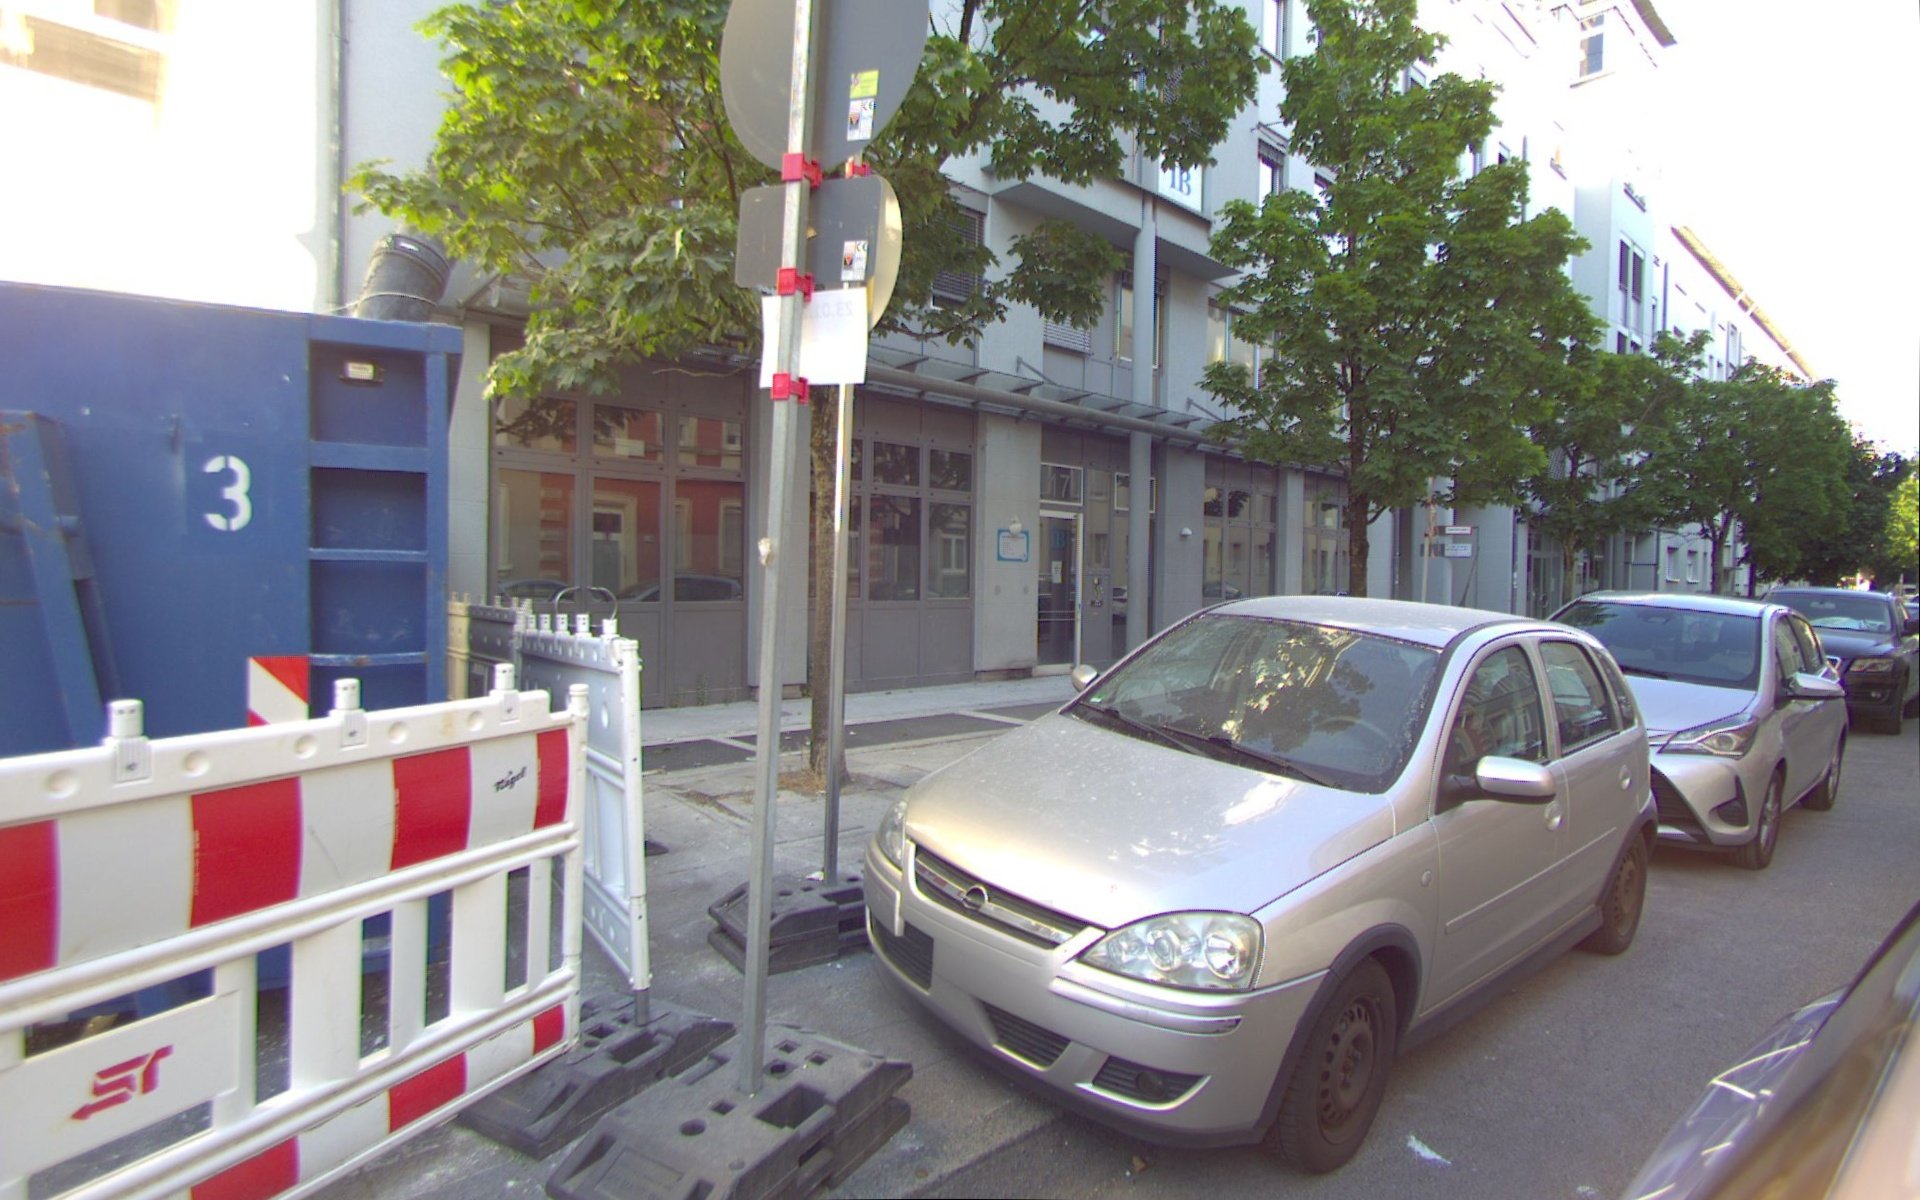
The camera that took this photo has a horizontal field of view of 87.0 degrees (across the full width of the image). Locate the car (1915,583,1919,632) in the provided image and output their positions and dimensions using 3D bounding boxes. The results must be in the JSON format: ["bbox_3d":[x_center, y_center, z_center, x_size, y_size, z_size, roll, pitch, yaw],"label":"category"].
[{"bbox_3d":[34.887,0.294,35.477,4.646,1.655,1.873,-1,4,-45],"label":"car"}]

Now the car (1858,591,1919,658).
[{"bbox_3d":[22.953,0.555,24.224,4.272,1.446,1.766,0,3,-43],"label":"car"}]

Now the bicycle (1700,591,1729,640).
[{"bbox_3d":[19.231,0.372,25.819,0.519,1.182,1.718,3,3,36],"label":"bicycle"}]

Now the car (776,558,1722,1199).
[{"bbox_3d":[1.344,0.650,3.851,3.664,1.493,1.680,0,3,-40],"label":"car"}]

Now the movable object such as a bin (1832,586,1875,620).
[{"bbox_3d":[40.172,0.105,45.503,1.202,1.454,1.286,0,3,-43],"label":"movable object such as a bin"}]

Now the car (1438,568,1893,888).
[{"bbox_3d":[5.012,0.611,6.979,3.902,1.543,1.679,0,3,-42],"label":"car"}]

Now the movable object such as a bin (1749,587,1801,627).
[{"bbox_3d":[29.283,0.230,36.375,1.120,1.337,1.263,0,3,-43],"label":"movable object such as a bin"}]

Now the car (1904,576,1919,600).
[{"bbox_3d":[96.762,-1.189,101.371,2.147,2.311,6.135,3,3,33],"label":"car"}]

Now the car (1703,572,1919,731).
[{"bbox_3d":[11.242,0.516,13.020,4.360,1.642,1.888,0,3,-43],"label":"car"}]

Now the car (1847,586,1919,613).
[{"bbox_3d":[59.928,-0.041,65.212,1.968,1.584,3.991,0,4,-44],"label":"car"}]

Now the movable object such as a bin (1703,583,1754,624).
[{"bbox_3d":[28.228,0.113,37.169,1.120,1.454,1.263,0,3,-43],"label":"movable object such as a bin"}]
